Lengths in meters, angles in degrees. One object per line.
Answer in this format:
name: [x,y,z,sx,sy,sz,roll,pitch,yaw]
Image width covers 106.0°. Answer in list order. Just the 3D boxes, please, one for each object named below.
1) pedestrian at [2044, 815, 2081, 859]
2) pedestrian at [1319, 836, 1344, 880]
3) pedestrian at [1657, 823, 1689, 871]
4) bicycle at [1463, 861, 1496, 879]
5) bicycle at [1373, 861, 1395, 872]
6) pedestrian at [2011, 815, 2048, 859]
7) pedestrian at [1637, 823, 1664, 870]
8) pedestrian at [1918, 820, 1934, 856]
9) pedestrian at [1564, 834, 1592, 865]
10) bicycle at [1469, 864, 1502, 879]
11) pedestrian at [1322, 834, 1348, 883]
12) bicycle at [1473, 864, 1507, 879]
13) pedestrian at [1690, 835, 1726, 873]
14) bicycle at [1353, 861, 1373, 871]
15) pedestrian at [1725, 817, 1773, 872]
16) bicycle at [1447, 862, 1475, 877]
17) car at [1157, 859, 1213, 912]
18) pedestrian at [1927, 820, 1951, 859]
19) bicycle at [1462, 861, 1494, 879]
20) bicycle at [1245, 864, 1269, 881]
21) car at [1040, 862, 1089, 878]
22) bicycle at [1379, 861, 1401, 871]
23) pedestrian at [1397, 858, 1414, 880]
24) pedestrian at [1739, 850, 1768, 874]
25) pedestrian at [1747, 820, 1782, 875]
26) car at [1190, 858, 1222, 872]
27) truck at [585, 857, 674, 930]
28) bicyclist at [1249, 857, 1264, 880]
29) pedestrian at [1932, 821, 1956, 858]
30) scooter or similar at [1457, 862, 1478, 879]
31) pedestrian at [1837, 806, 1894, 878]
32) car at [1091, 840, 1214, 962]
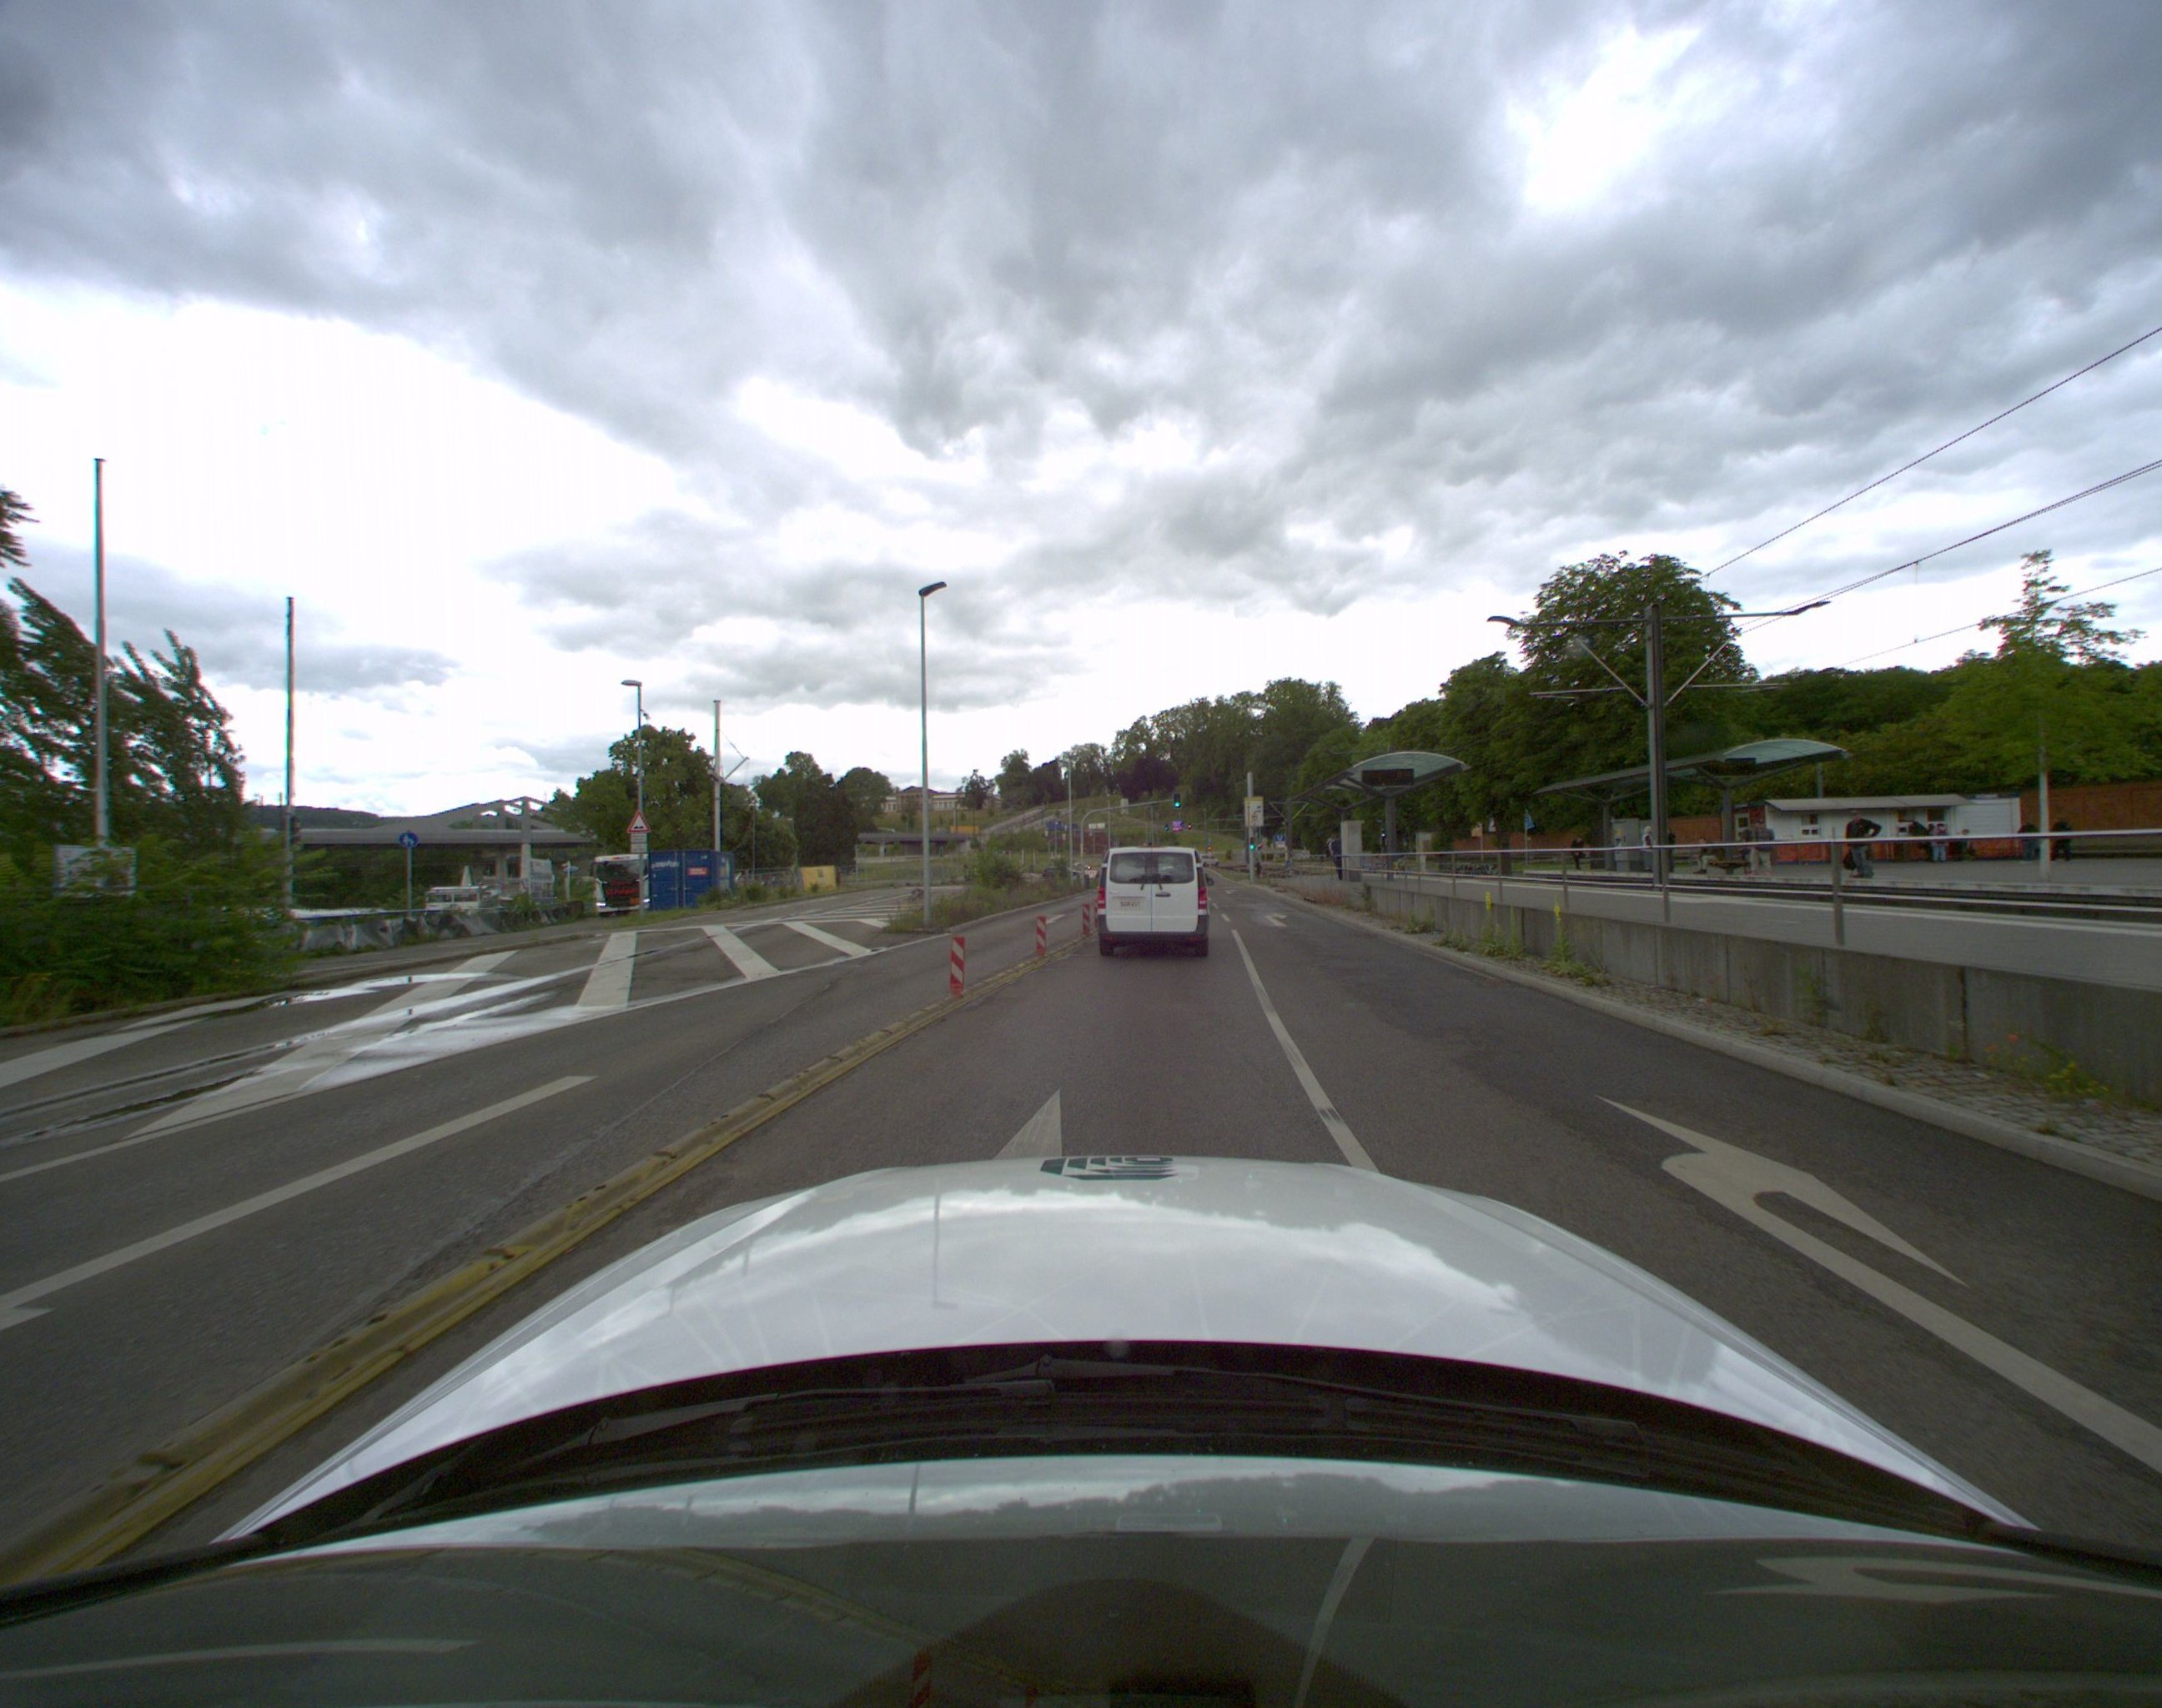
pedestrian: [35.420,-0.605,29.387,0.583,1.583,0.622,1,-1,-6]
pedestrian: [9.108,0.136,29.665,0.746,1.553,0.776,1,1,8]
pedestrian: [21.344,-0.242,29.386,0.670,1.677,0.677,1,-1,3]
bicycle: [26.225,1.060,53.570,1.863,1.139,0.533,1,-1,7]
bicycle: [29.178,1.222,78.373,1.902,0.975,0.532,-2,-1,7]
pedestrian: [34.728,-0.620,29.820,0.653,1.583,0.621,1,-1,-7]
pedestrian: [20.654,-0.265,29.550,0.541,1.677,0.676,1,-1,3]
pedestrian: [35.140,-0.677,33.874,0.339,1.487,0.316,1,-1,9]
pedestrian: [21.493,-0.181,35.221,0.670,1.323,0.969,1,-1,6]
bicycle: [26.192,1.124,52.730,1.863,0.963,0.533,1,-1,7]
pedestrian: [8.996,0.140,28.897,0.766,1.699,0.733,1,1,8]
bicycle: [26.126,1.121,52.005,1.863,0.963,0.533,1,-1,7]
pedestrian: [19.951,0.008,25.919,0.654,1.191,0.677,1,-1,8]
bicycle: [29.870,1.257,86.229,1.902,0.975,0.532,-2,-1,7]
pedestrian: [20.816,-0.289,25.386,0.858,1.677,0.760,1,-1,-4]
bicycle: [26.542,1.096,56.868,1.754,1.034,0.484,1,-1,7]
car: [3.623,1.063,28.935,1.829,1.729,4.068,0,-1,5]
pedestrian: [34.841,-0.590,33.080,0.482,1.535,0.461,1,-1,9]
bicycle: [26.527,1.071,54.493,1.863,1.139,0.533,1,-1,7]
bicycle: [12.152,1.253,56.215,1.690,1.074,0.614,-2,0,-33]
car: [-1.685,1.688,85.090,4.673,1.477,2.009,-3,0,16]
bicycle: [29.296,1.165,77.238,1.902,0.896,0.532,-2,-1,7]
pedestrian: [23.648,1.085,59.361,0.834,1.609,0.774,-2,-1,-16]
pedestrian: [20.711,0.243,25.076,0.557,0.740,0.426,0,-1,16]
pedestrian: [20.278,-0.188,24.160,0.521,1.620,0.677,1,-1,8]
car: [19.186,1.694,125.031,5.181,2.014,2.180,0,-1,-45]
truck: [-23.814,1.953,43.362,2.803,3.336,8.418,-3,0,-21]
bicyclist: [12.129,0.981,56.195,0.809,1.572,0.612,-1,0,-33]
pedestrian: [34.538,-0.577,32.606,0.482,1.487,0.461,1,-1,9]
scooter or similar: [26.515,1.102,55.860,1.265,1.139,0.334,0,-1,14]
pedestrian: [20.540,-0.303,21.346,0.629,1.838,0.952,1,-1,8]
car: [1.428,0.772,15.139,1.948,1.904,4.471,0,-1,8]
